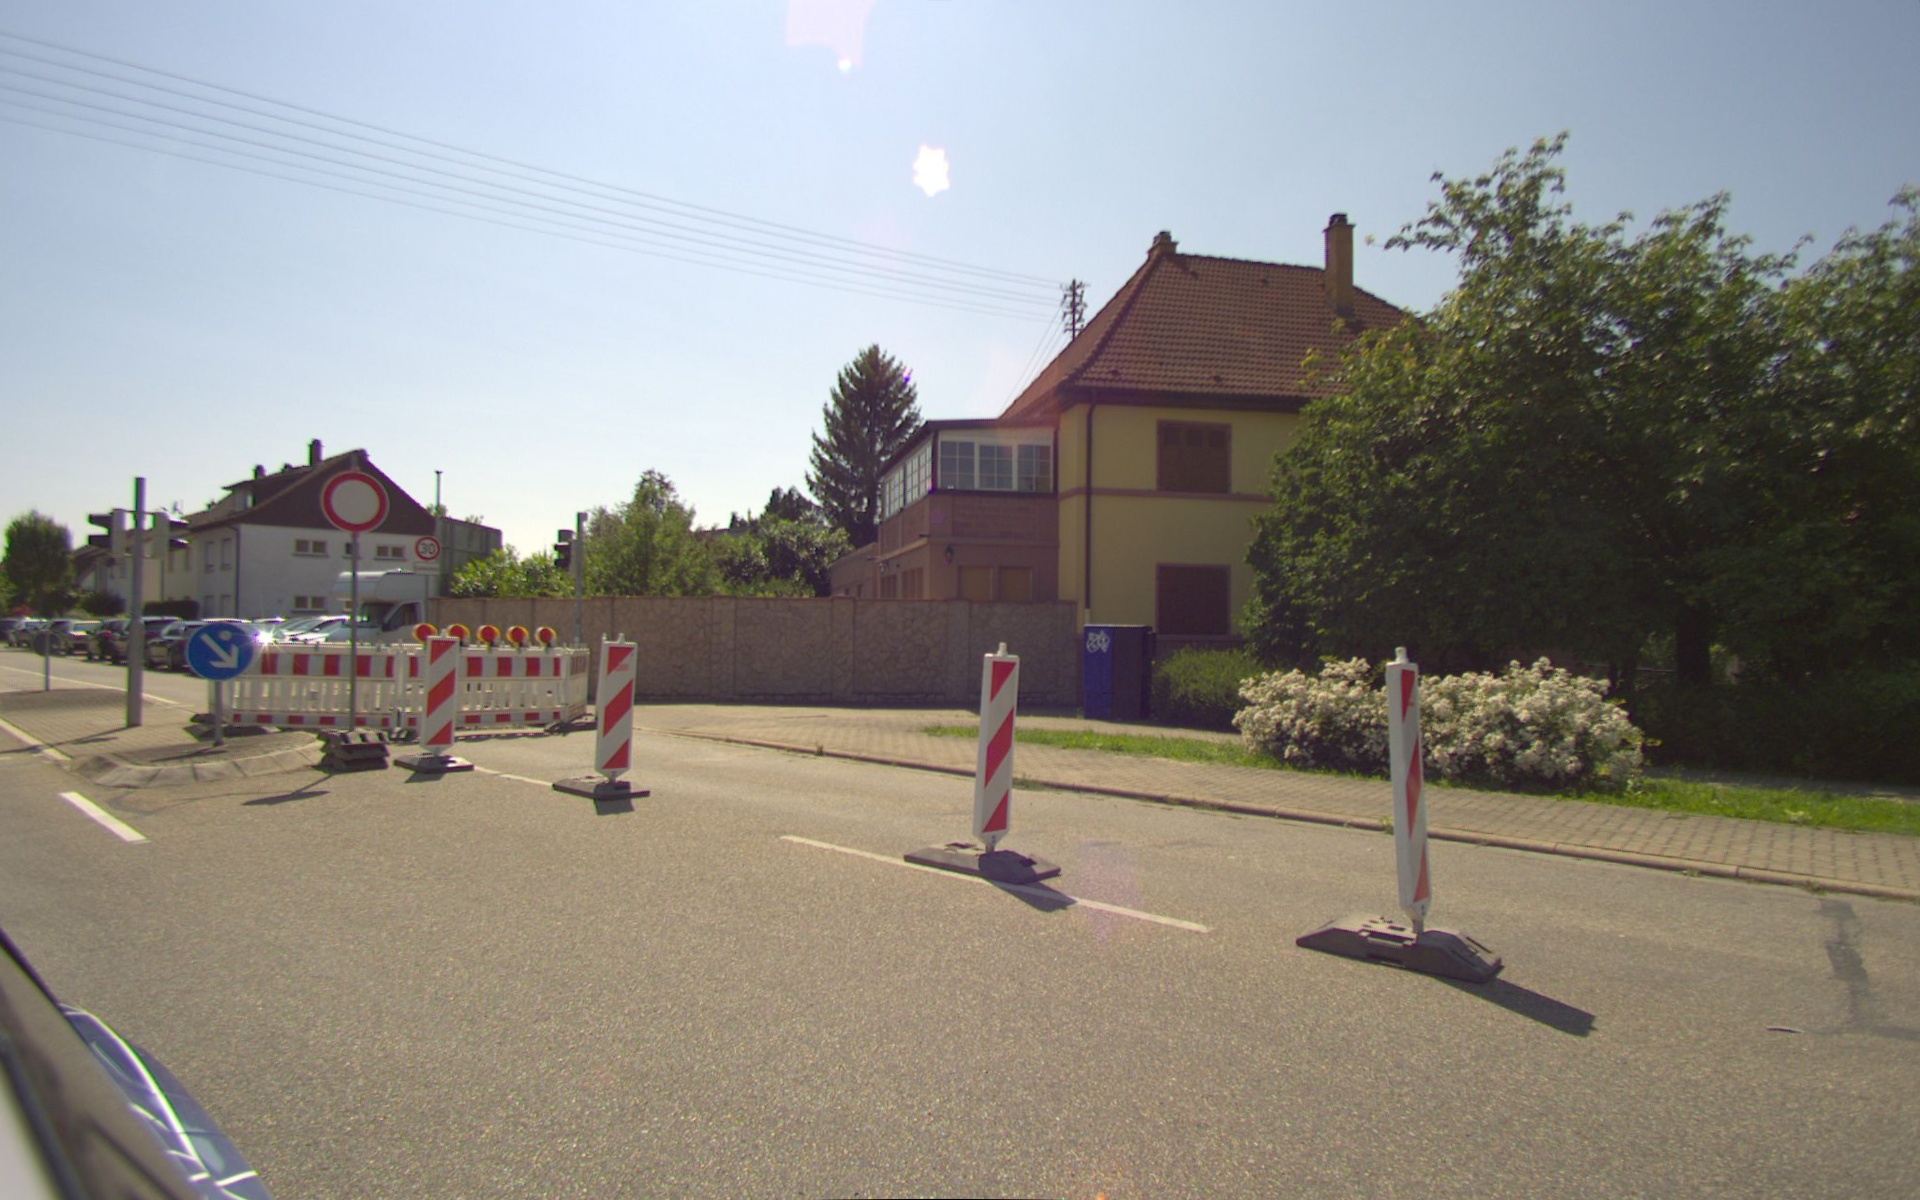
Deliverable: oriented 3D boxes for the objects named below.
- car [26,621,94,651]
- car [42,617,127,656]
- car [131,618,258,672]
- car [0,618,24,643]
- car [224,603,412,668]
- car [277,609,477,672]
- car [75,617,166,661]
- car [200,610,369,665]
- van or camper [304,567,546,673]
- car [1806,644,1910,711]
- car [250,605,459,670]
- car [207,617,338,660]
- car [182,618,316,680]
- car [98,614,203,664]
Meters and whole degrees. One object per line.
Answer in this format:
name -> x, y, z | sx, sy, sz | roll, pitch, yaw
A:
car -> -42.393, 1.706, 47.646 | 3.912, 1.328, 1.718 | -1, -3, 39
car -> -36.791, 1.508, 42.514 | 4.540, 1.559, 1.840 | -1, -3, 39
car -> -23.076, 1.328, 30.455 | 4.503, 1.511, 1.928 | -1, -3, 39
car -> -58.963, 1.866, 62.079 | 3.912, 1.525, 1.718 | -1, -2, 39
car -> -22.405, 1.213, 35.537 | 2.206, 2.103, 5.122 | -1, -2, 33
car -> -18.155, 1.233, 31.800 | 2.124, 1.782, 5.061 | -1, -2, 31
car -> -31.376, 1.433, 37.790 | 4.174, 1.559, 1.839 | -1, -3, 40
car -> -24.506, 1.352, 36.877 | 1.995, 1.878, 4.721 | -1, -2, 35
van or camper -> -16.004, 0.621, 30.747 | 2.282, 2.866, 6.196 | -1, -2, 31
car -> 23.100, 1.920, 25.983 | 1.804, 1.472, 3.942 | -2, -1, 44
car -> -20.261, 1.228, 34.195 | 2.126, 2.017, 5.717 | -1, -2, 33
car -> -27.281, 1.526, 40.260 | 1.764, 1.628, 3.954 | -1, -2, 34
car -> -18.969, 1.262, 26.926 | 4.508, 1.511, 1.926 | -1, -4, 42
car -> -27.501, 1.304, 34.344 | 4.223, 1.603, 1.840 | -1, -3, 39
